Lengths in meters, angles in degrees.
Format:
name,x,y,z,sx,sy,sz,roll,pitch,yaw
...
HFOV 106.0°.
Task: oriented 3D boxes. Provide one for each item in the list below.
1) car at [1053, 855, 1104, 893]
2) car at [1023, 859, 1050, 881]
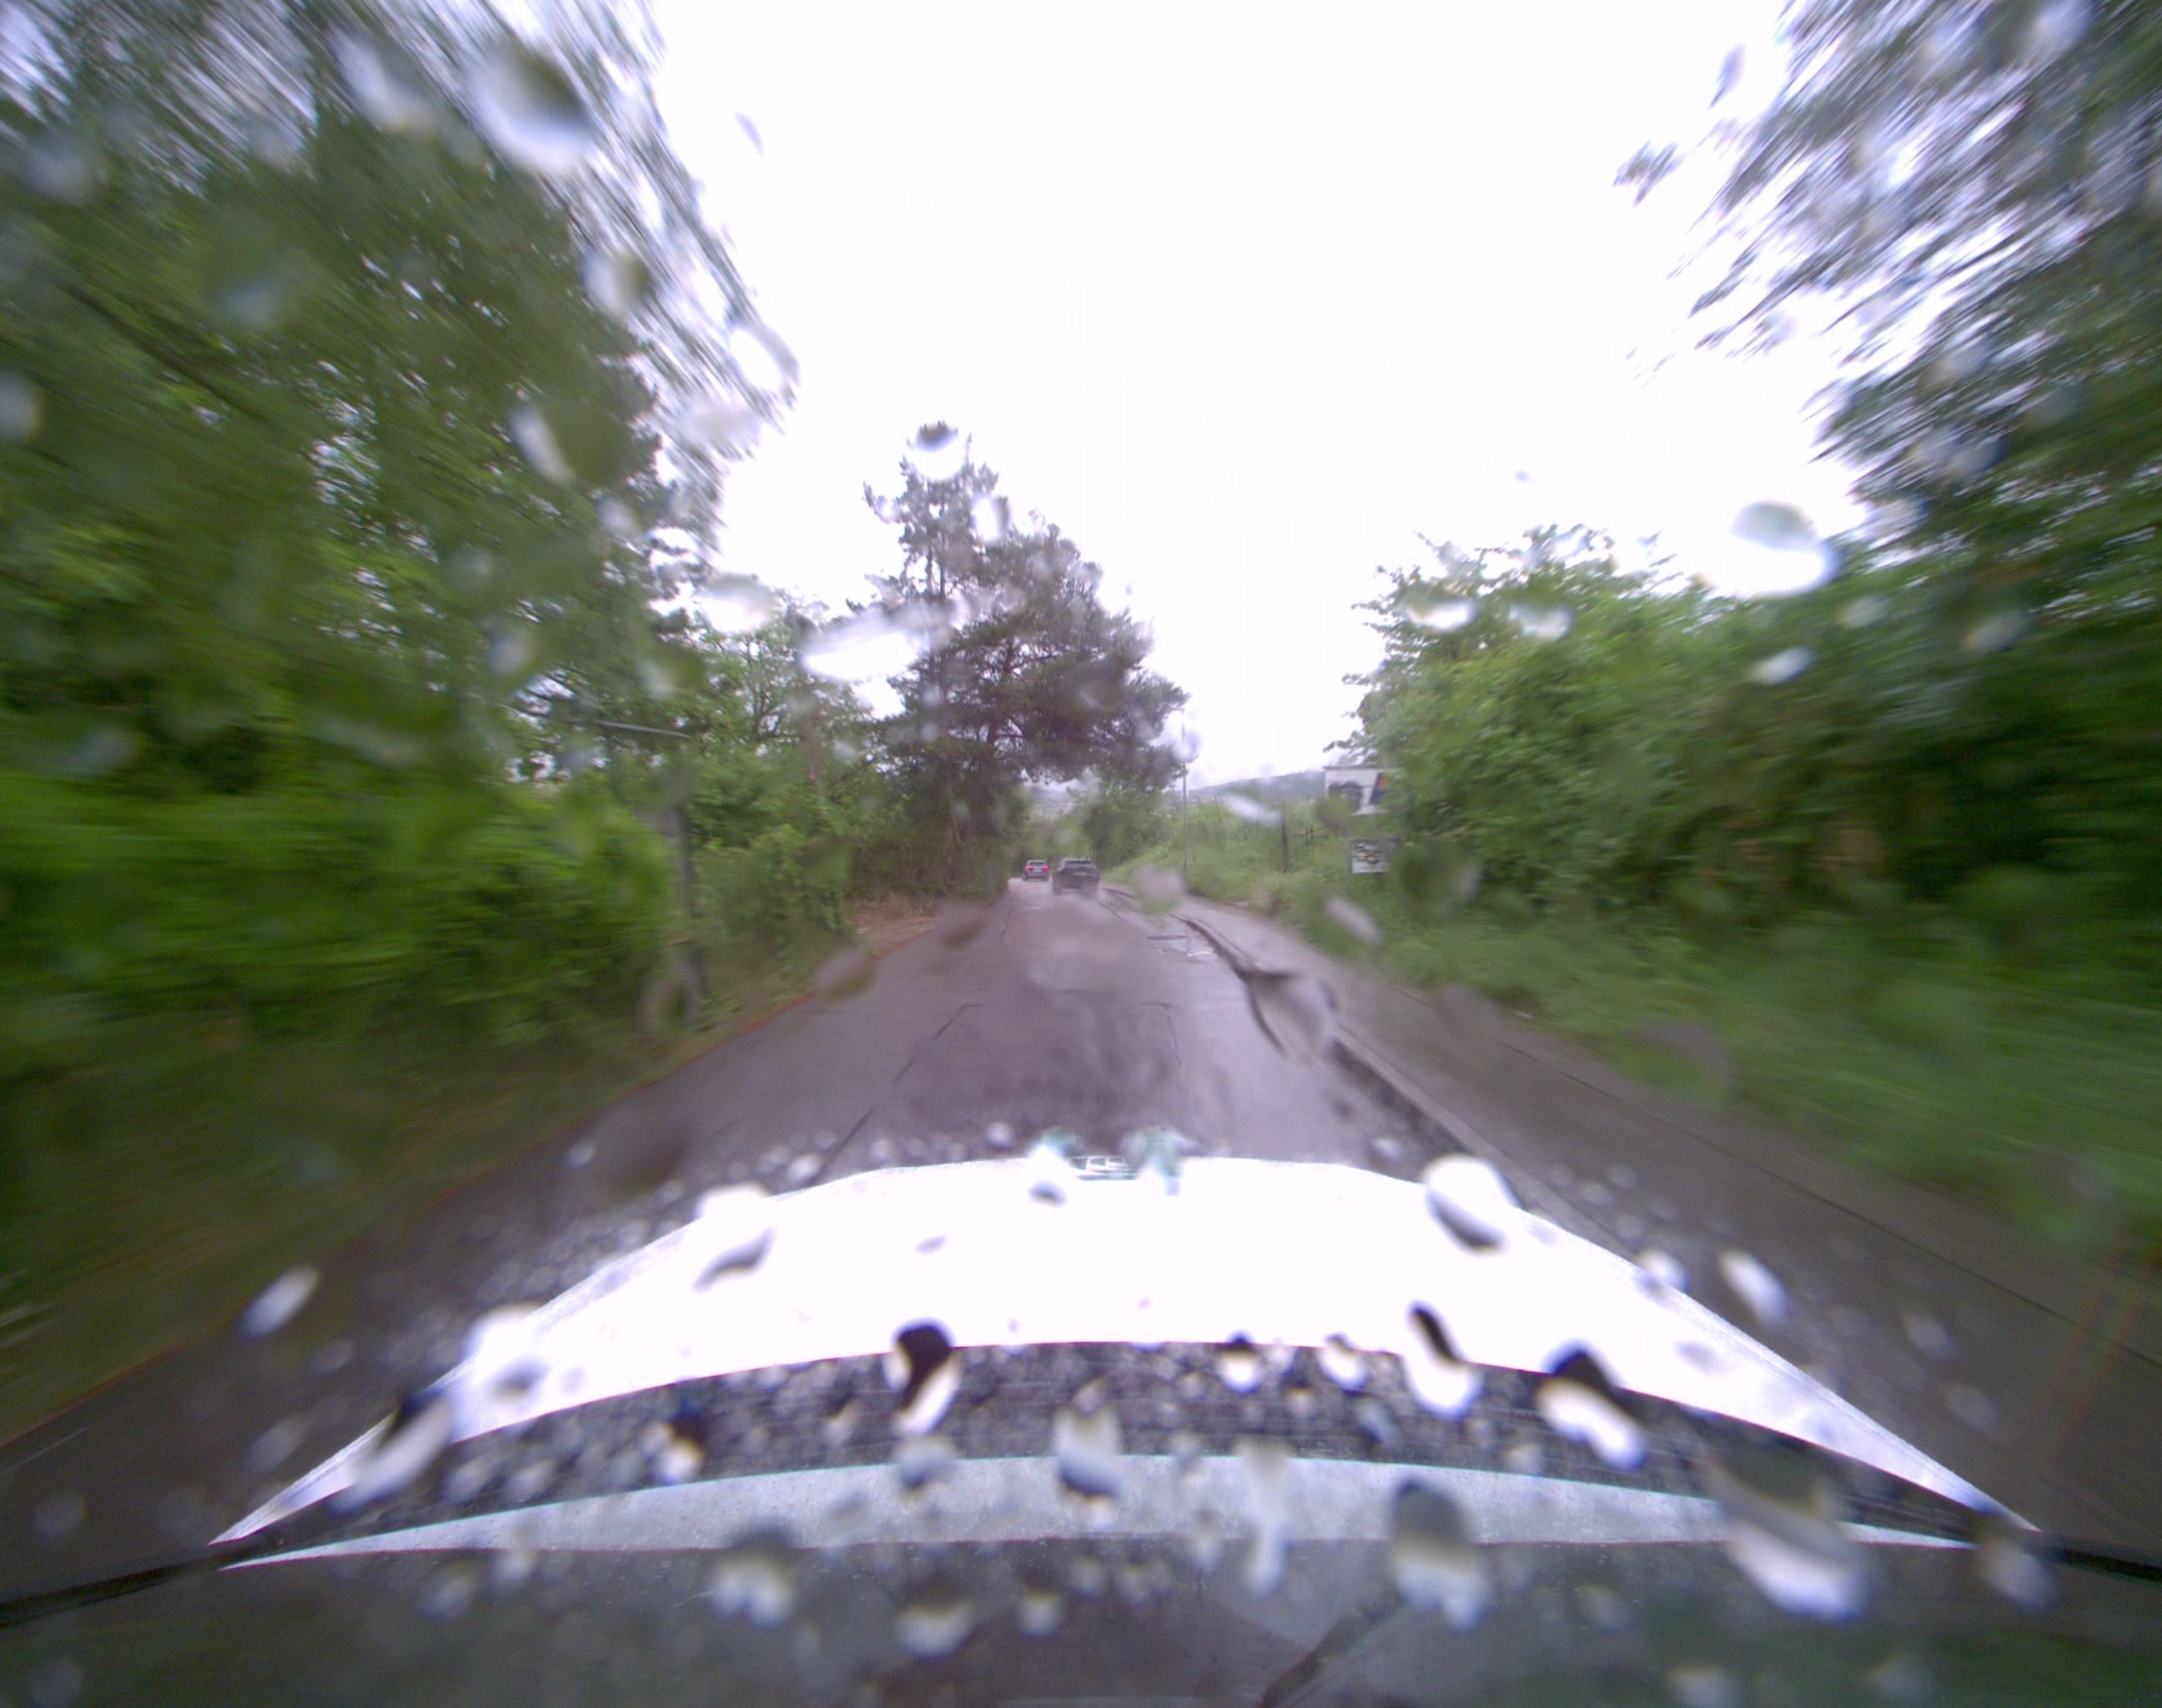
name,x,y,z,sx,sy,sz,roll,pitch,yaw
car,-0.161,0.832,34.589,1.831,1.464,3.994,-2,0,-4
car,-3.356,1.147,60.760,1.677,1.565,3.783,-1,0,-8
